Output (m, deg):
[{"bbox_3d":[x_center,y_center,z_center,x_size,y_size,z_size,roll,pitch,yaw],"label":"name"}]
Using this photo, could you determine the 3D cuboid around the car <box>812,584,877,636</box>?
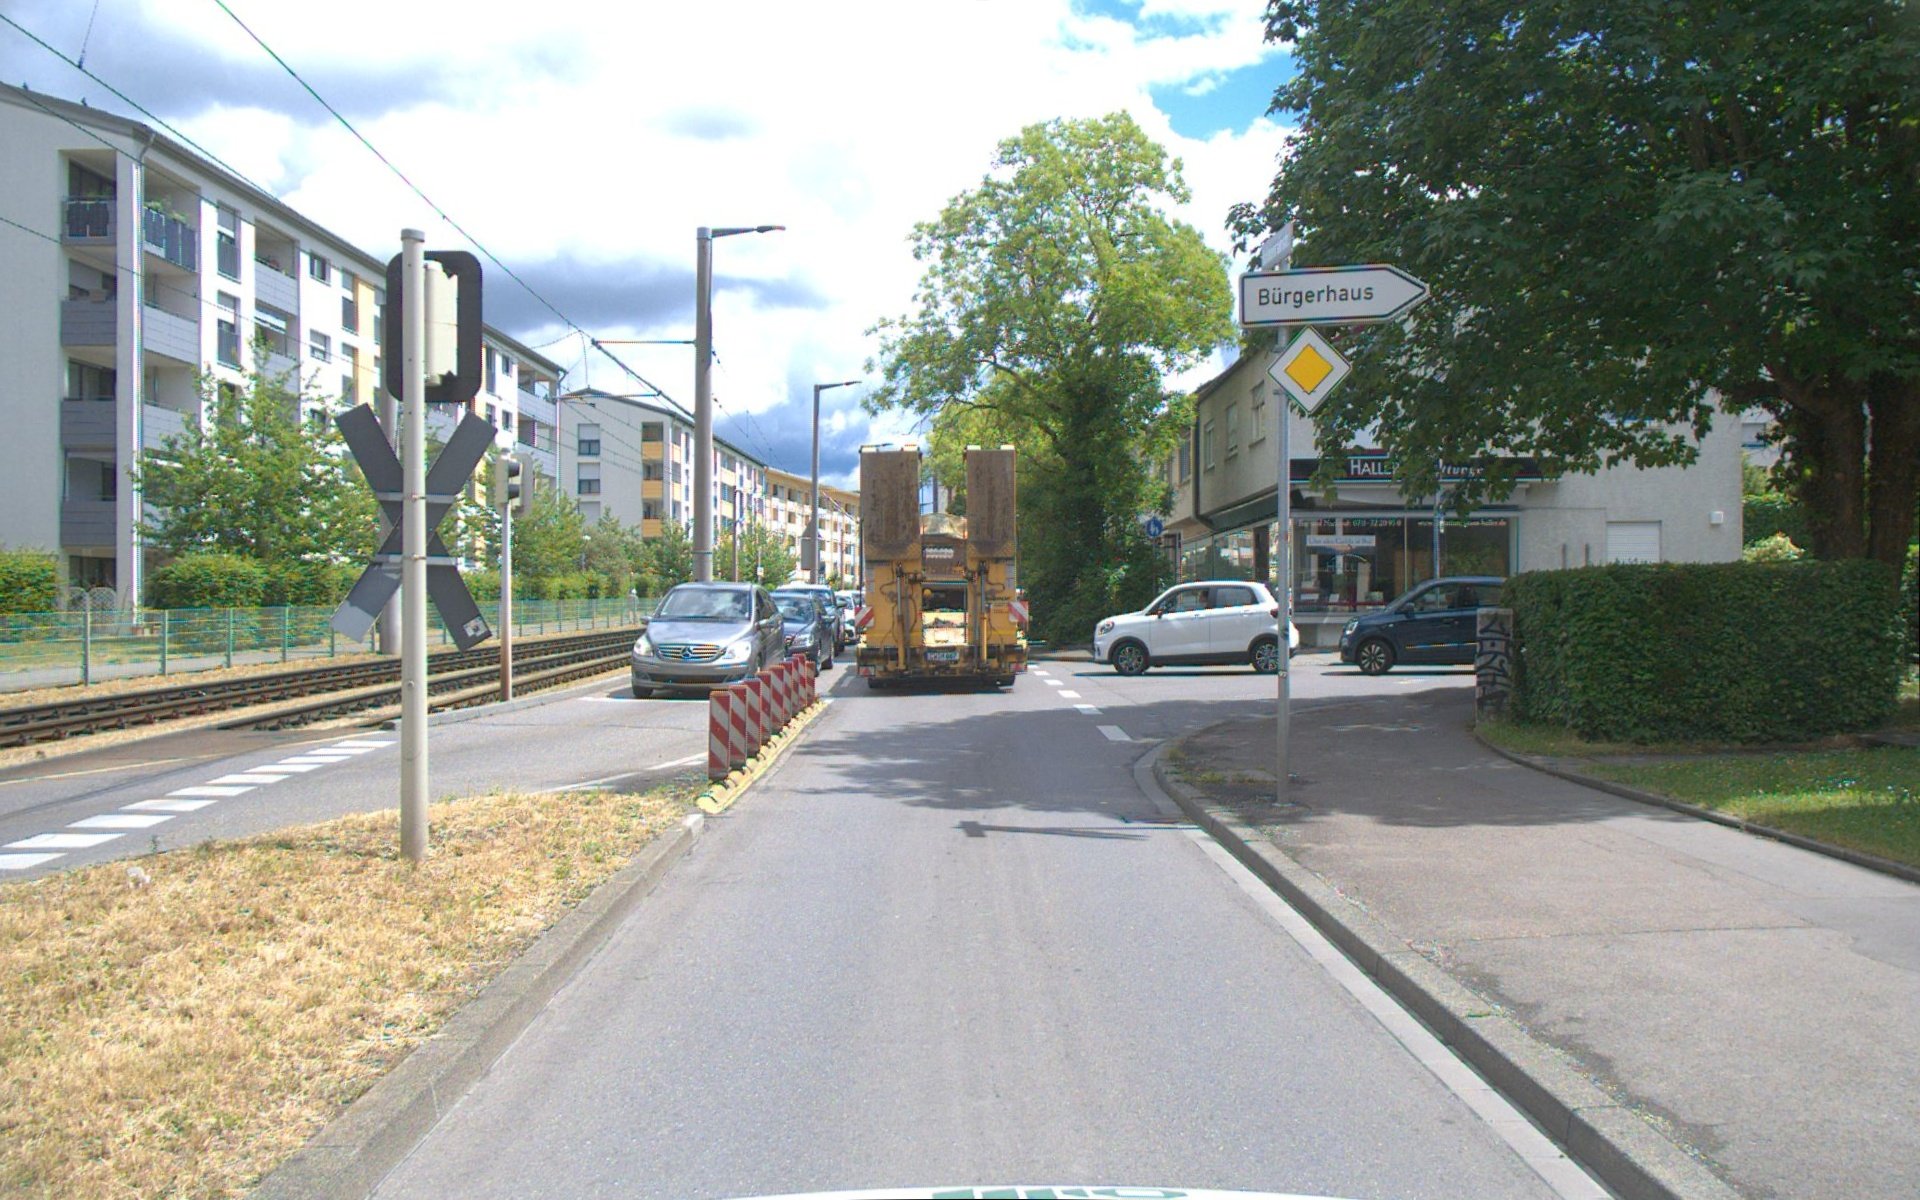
[{"bbox_3d":[-3.748,0.300,54.267,1.953,1.546,3.890,-2,1,-2],"label":"car"}]

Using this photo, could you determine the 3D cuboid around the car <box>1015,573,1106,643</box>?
[{"bbox_3d":[2.550,0.175,42.780,1.953,1.646,3.999,-2,1,-2],"label":"car"}]

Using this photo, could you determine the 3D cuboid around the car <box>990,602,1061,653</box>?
[{"bbox_3d":[2.041,0.836,52.353,1.953,1.411,3.999,-2,1,-2],"label":"car"}]

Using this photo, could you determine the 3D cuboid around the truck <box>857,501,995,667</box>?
[{"bbox_3d":[-0.943,-0.414,38.426,2.778,3.388,7.979,-2,1,-4],"label":"truck"}]

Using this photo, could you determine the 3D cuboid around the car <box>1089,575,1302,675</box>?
[{"bbox_3d":[4.131,0.430,28.886,3.521,1.612,2.002,-1,0,11],"label":"car"}]

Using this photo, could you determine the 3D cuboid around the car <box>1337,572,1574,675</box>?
[{"bbox_3d":[8.184,0.377,27.475,3.619,1.549,2.002,-1,1,16],"label":"car"}]

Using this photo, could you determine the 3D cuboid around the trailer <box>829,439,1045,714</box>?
[{"bbox_3d":[-0.674,-0.457,29.432,2.990,3.838,11.605,-2,1,-4],"label":"trailer"}]

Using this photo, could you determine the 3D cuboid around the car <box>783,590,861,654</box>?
[{"bbox_3d":[-3.883,0.595,46.996,1.953,1.621,3.890,-2,1,-2],"label":"car"}]

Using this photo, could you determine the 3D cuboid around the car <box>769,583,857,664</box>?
[{"bbox_3d":[-3.396,0.546,38.763,1.568,1.762,3.939,-1,-1,1],"label":"car"}]

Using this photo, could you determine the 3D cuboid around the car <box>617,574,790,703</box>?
[{"bbox_3d":[-3.645,0.527,24.213,1.765,1.681,4.132,-2,0,1],"label":"car"}]

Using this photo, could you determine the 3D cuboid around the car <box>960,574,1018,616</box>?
[{"bbox_3d":[1.038,-0.208,61.572,1.953,1.411,3.999,-2,1,-2],"label":"car"}]

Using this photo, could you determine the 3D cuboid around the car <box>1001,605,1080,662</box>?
[{"bbox_3d":[2.285,0.941,47.800,1.953,1.411,3.999,-2,1,-2],"label":"car"}]

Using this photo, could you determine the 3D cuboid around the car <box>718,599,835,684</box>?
[{"bbox_3d":[-3.253,0.717,29.996,1.568,1.405,3.957,-2,0,1],"label":"car"}]
